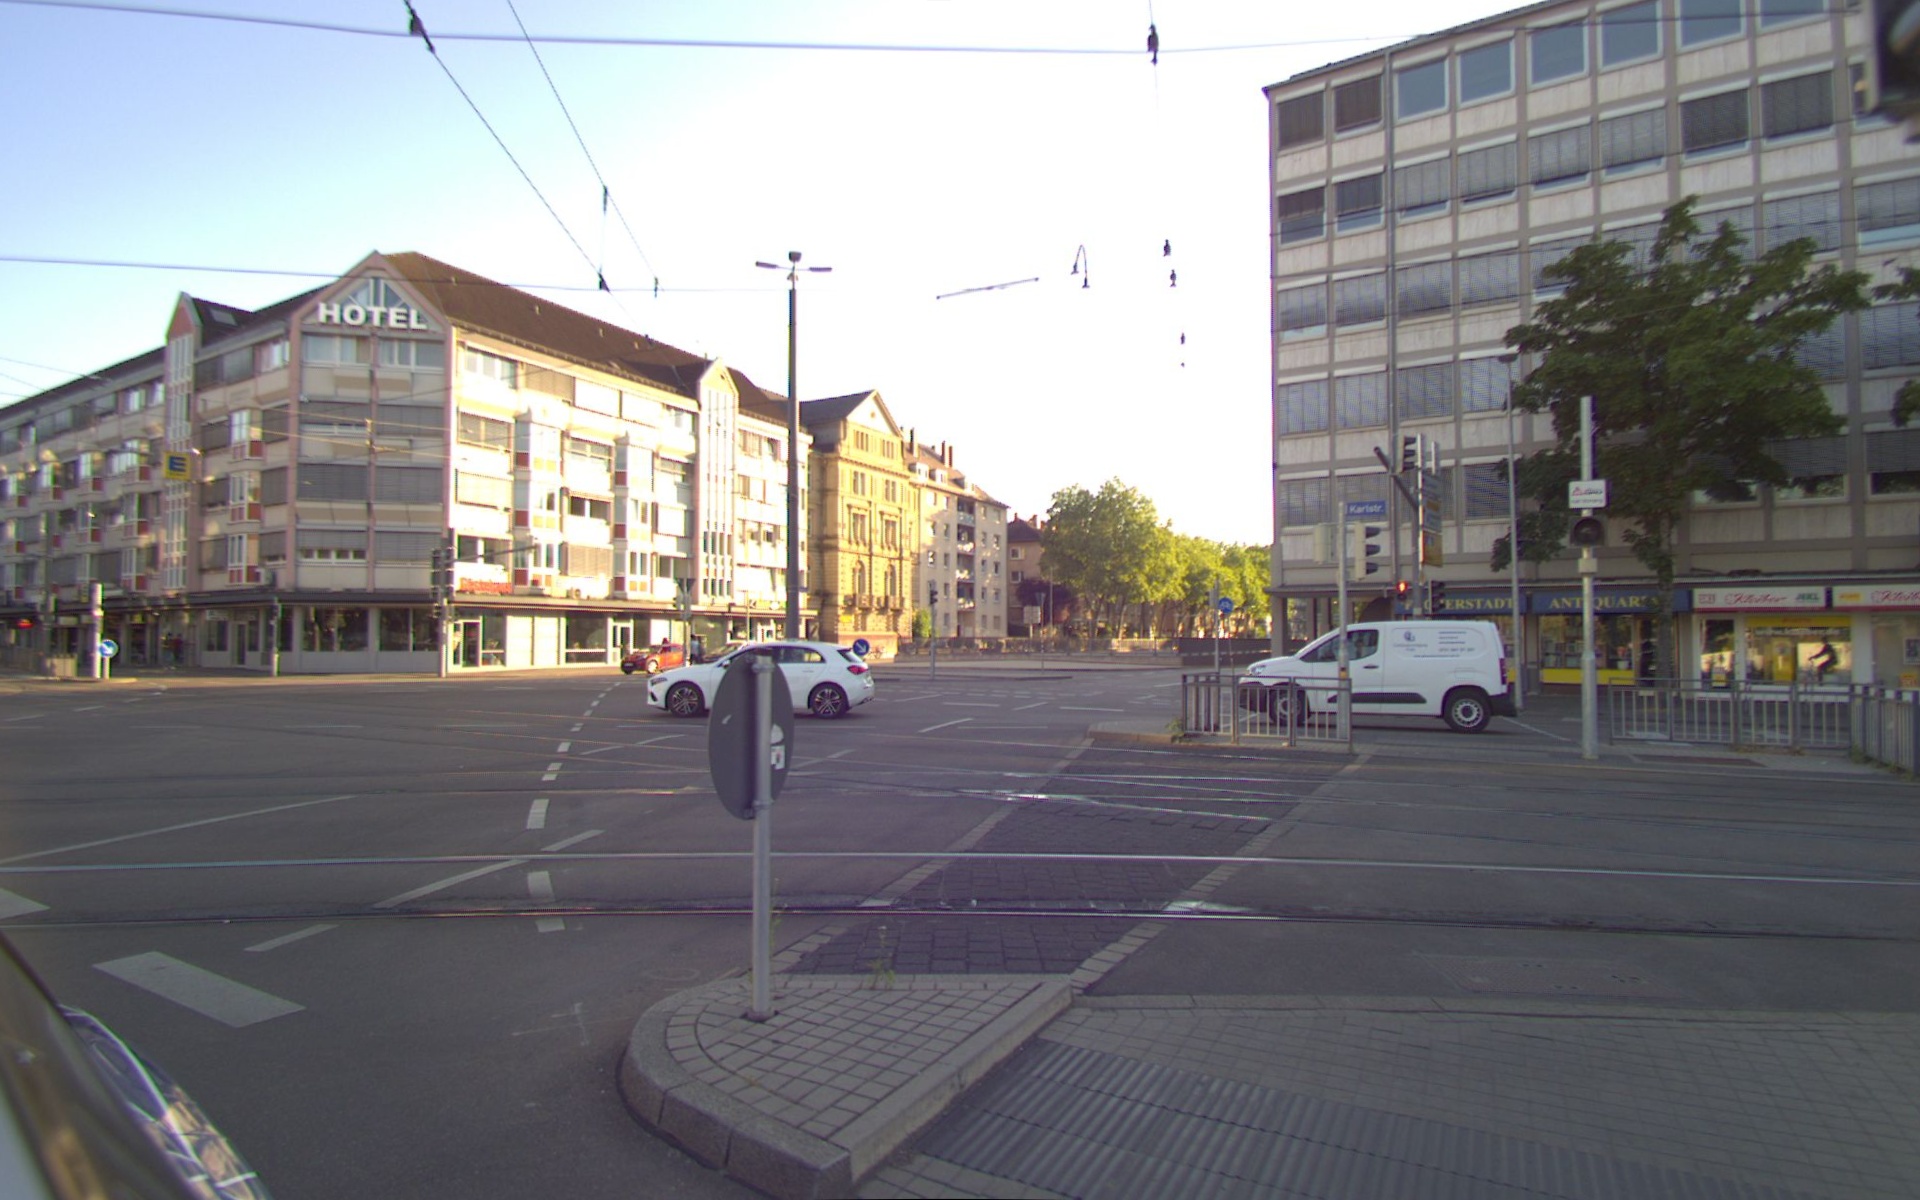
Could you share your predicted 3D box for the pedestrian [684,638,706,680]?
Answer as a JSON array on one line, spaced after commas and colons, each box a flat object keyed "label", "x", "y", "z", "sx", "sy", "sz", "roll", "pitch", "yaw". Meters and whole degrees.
[{"label": "pedestrian", "x": -10.688, "y": 2.362, "z": 40.794, "sx": 0.714, "sy": 1.662, "sz": 0.774, "roll": 1, "pitch": -3, "yaw": -23}]

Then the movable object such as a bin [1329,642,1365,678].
[{"label": "movable object such as a bin", "x": 14.773, "y": 2.271, "z": 38.594, "sx": 0.958, "sy": 1.337, "sz": 1.397, "roll": -2, "pitch": -3, "yaw": 35}]

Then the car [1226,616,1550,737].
[{"label": "car", "x": 7.245, "y": 1.251, "z": 17.486, "sx": 4.847, "sy": 1.852, "sz": 1.984, "roll": -1, "pitch": -3, "yaw": 25}]

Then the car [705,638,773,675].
[{"label": "car", "x": -10.798, "y": 2.732, "z": 49.761, "sx": 2.193, "sy": 1.567, "sz": 4.610, "roll": 3, "pitch": -1, "yaw": 1}]

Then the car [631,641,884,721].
[{"label": "car", "x": -3.812, "y": 1.540, "z": 19.592, "sx": 4.502, "sy": 1.460, "sz": 1.815, "roll": 0, "pitch": -3, "yaw": 3}]

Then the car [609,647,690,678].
[{"label": "car", "x": -15.285, "y": 3.057, "z": 49.955, "sx": 1.640, "sy": 1.433, "sz": 3.862, "roll": -1, "pitch": -3, "yaw": 25}]

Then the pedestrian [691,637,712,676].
[{"label": "pedestrian", "x": -10.660, "y": 2.329, "z": 41.788, "sx": 0.693, "sy": 1.595, "sz": 0.828, "roll": 1, "pitch": -3, "yaw": -25}]

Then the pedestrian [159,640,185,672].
[{"label": "pedestrian", "x": -40.773, "y": 2.896, "z": 52.361, "sx": 0.903, "sy": 1.560, "sz": 0.701, "roll": 2, "pitch": -3, "yaw": 29}]
